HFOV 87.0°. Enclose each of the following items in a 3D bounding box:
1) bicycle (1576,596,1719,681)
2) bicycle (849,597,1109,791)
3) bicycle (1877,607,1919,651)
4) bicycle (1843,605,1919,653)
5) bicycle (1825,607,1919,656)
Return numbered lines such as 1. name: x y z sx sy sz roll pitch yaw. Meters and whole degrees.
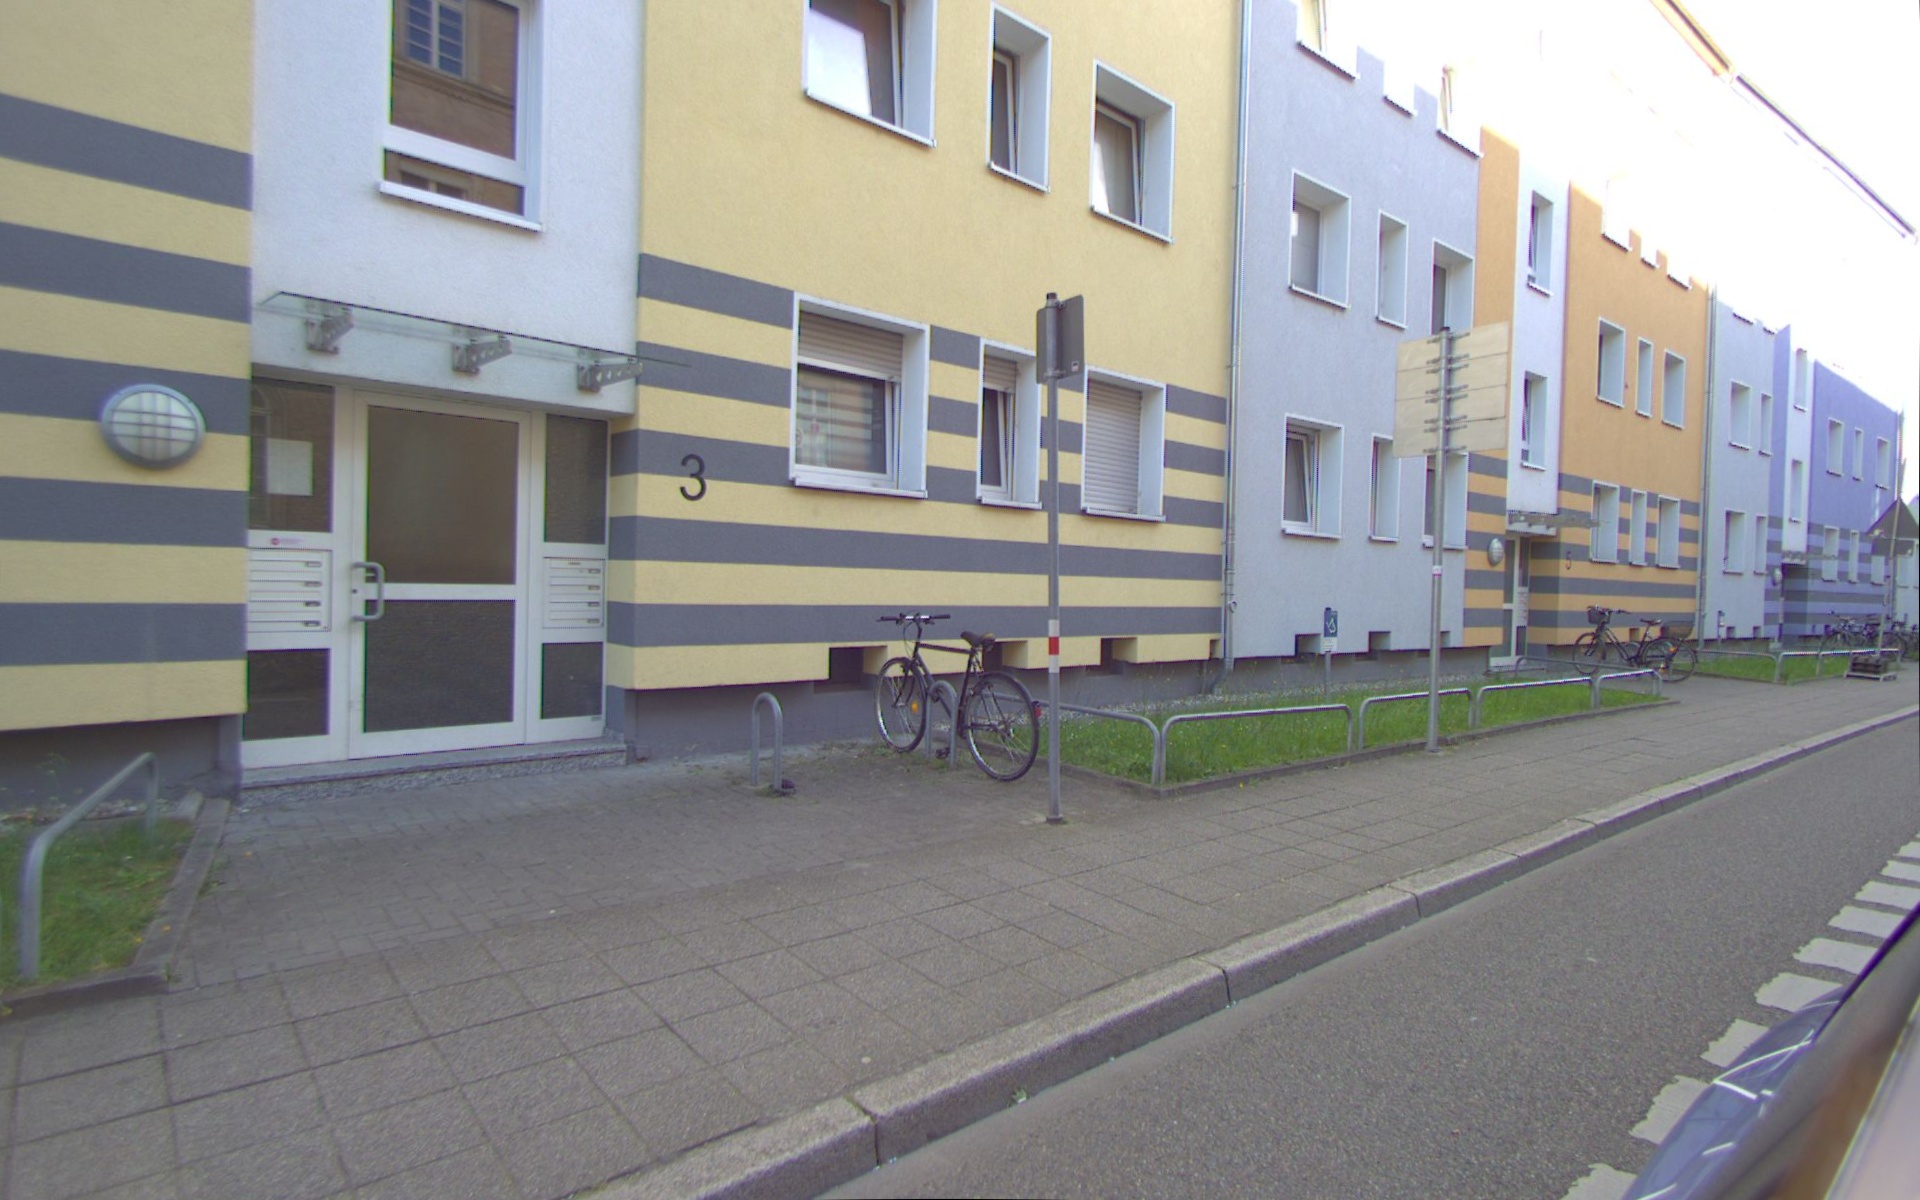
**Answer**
1. bicycle: 10.760 0.578 15.883 0.625 1.173 1.709 1 3 -42
2. bicycle: 0.065 0.567 7.065 0.625 1.074 1.946 1 3 -42
3. bicycle: 24.191 0.754 25.353 0.625 1.048 1.709 1 3 -42
4. bicycle: 23.271 0.720 25.280 0.625 1.095 1.711 1 2 -40
5. bicycle: 22.302 0.749 24.685 0.624 1.058 1.711 1 2 -39
